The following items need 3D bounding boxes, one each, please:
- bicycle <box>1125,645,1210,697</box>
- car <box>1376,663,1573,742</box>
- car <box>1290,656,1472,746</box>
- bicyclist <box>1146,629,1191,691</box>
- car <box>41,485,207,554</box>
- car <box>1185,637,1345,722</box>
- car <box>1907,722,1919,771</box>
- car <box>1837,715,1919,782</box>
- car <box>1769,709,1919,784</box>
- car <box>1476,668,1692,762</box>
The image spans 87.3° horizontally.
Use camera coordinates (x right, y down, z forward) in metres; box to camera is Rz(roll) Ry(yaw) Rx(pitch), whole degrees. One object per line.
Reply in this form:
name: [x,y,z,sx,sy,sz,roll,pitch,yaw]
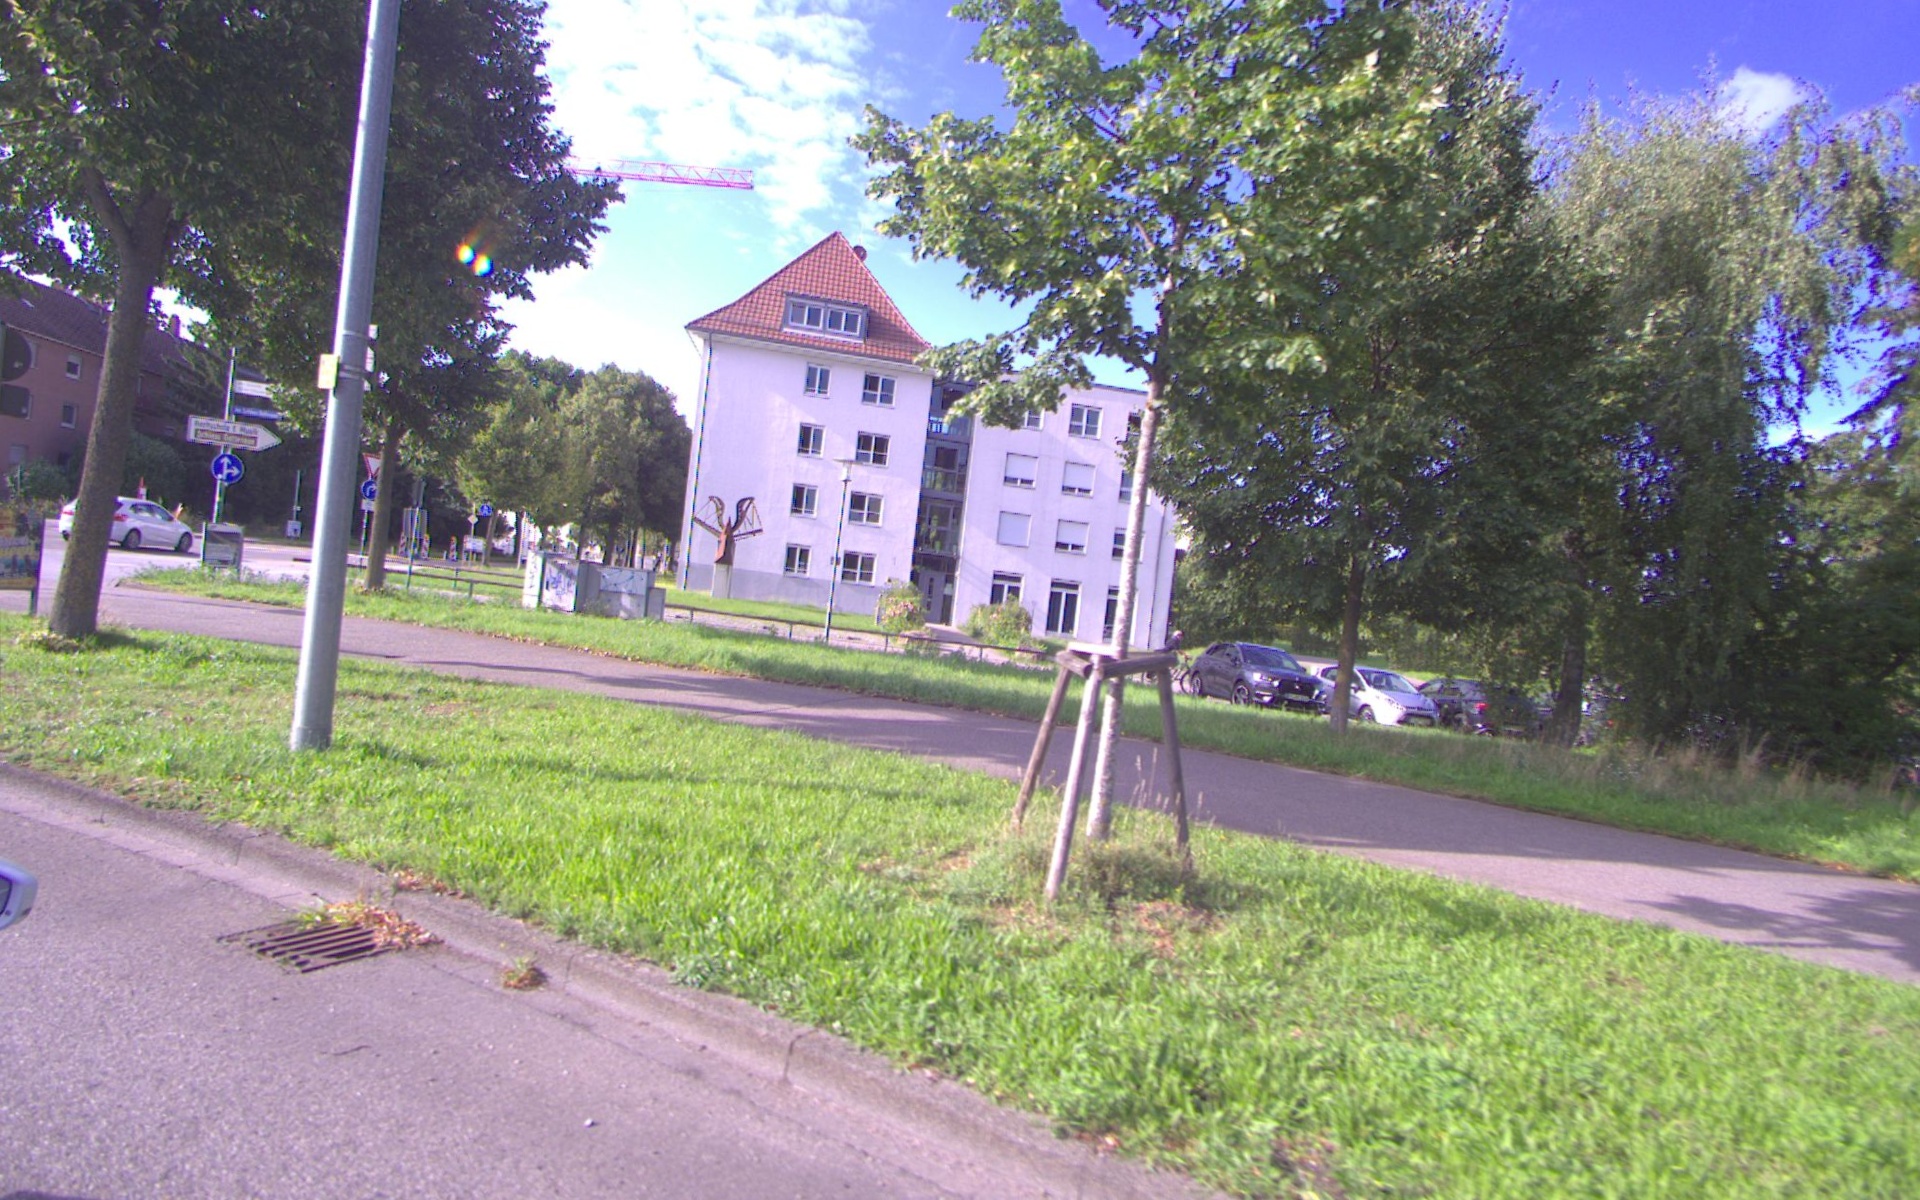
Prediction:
bicycle: [5.808,1.971,28.195,2.110,1.151,0.772,7,1,1]
car: [12.311,2.408,24.495,1.829,1.222,4.727,7,0,-7]
car: [9.976,2.337,24.329,1.829,1.458,4.727,7,0,-7]
bicyclist: [5.837,1.656,28.186,0.942,1.594,0.772,7,1,1]
car: [-26.238,-2.473,31.803,1.825,1.591,4.448,8,0,-9]
car: [6.996,1.781,23.631,1.829,1.398,4.509,7,0,-7]
car: [29.200,4.429,27.404,1.829,1.375,4.827,7,0,-7]
car: [26.460,4.187,26.635,1.829,1.534,4.741,7,0,-7]
car: [24.135,3.889,26.209,1.829,1.376,4.727,7,0,-7]
car: [15.101,2.725,24.739,1.829,1.534,4.727,7,0,-7]
